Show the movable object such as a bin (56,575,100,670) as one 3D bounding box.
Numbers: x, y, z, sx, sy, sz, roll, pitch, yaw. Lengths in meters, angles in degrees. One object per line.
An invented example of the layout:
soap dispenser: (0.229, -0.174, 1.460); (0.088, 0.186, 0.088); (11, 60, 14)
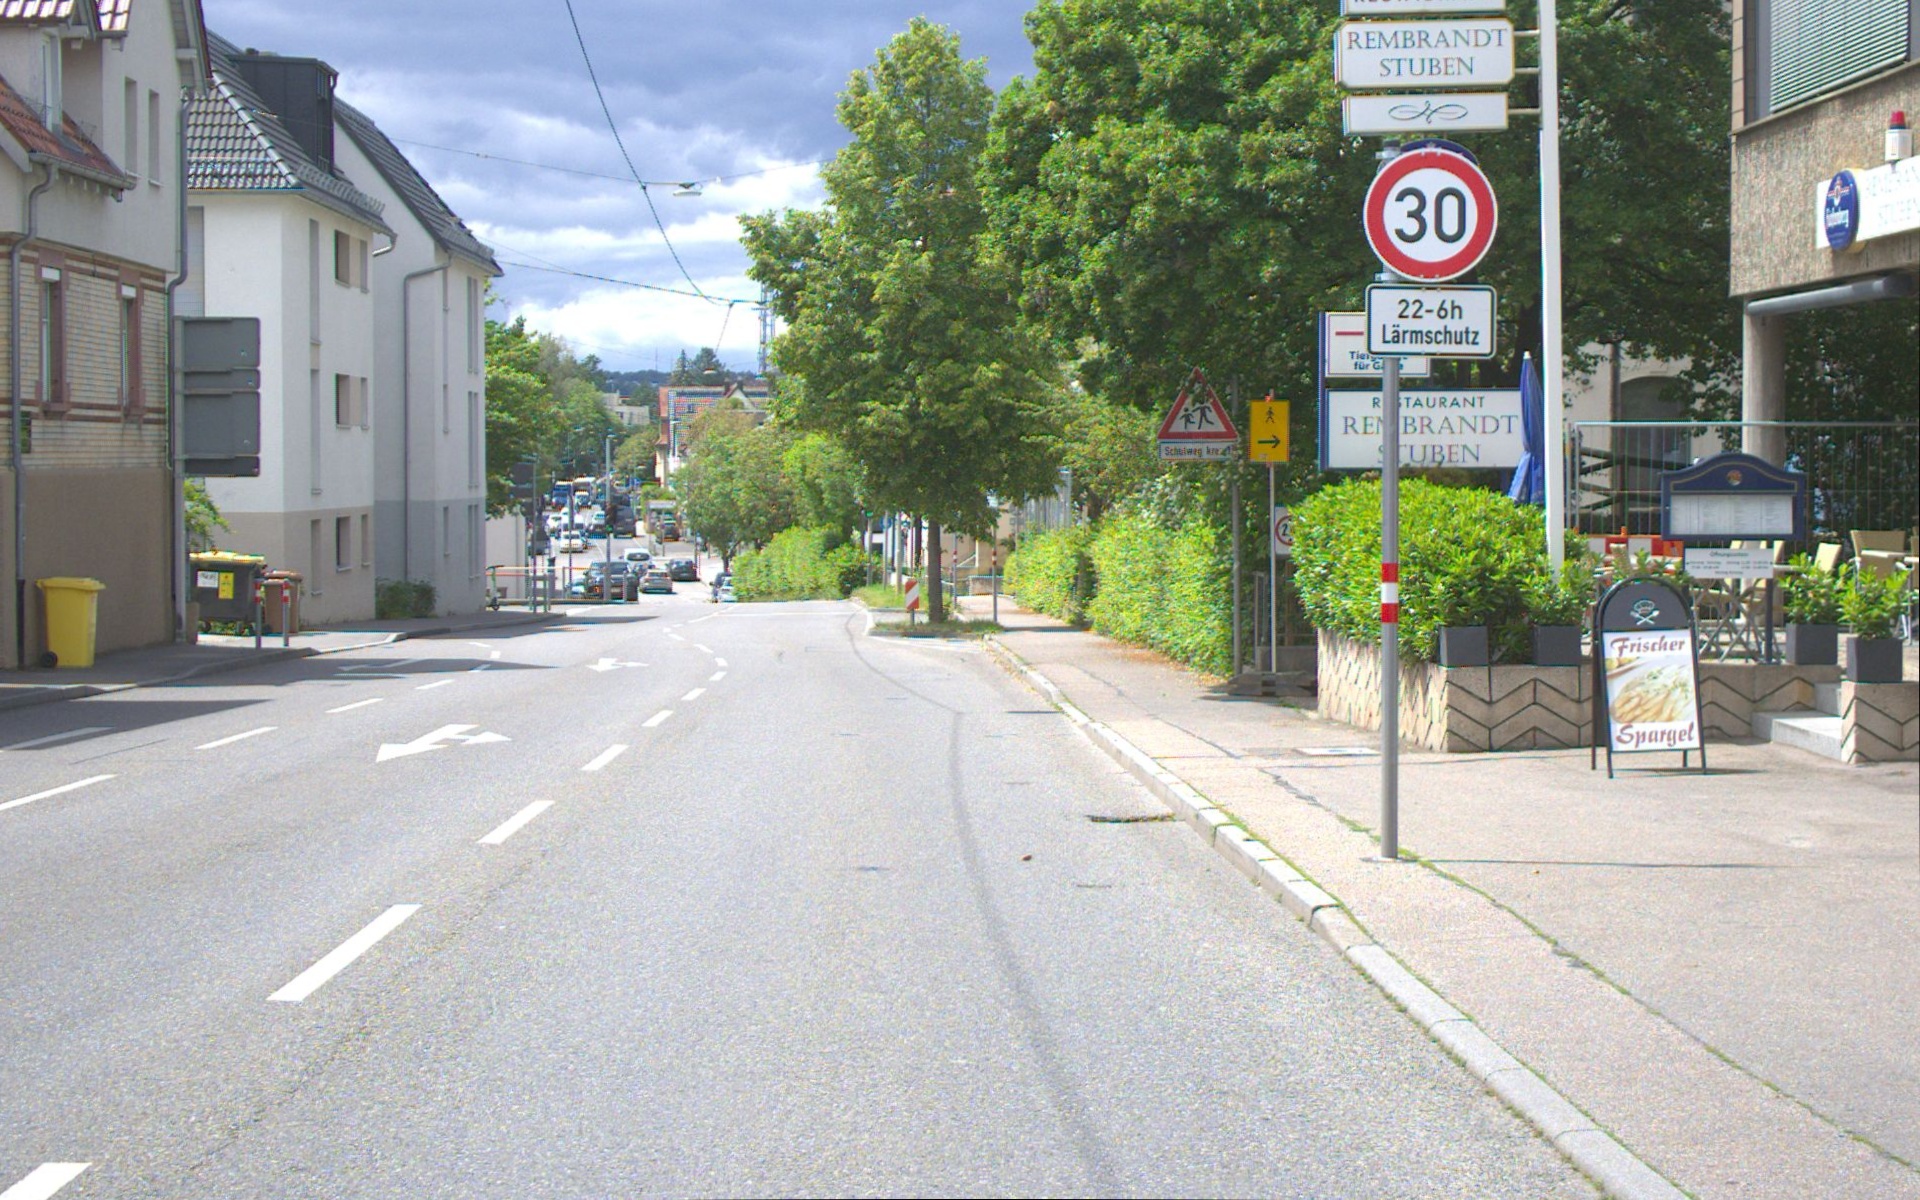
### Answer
movable object such as a bin: (-10.538, 0.269, 41.074); (0.431, 1.124, 0.299); (-1, 1, -3)

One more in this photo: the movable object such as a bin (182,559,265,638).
movable object such as a bin: (-12.213, -0.032, 57.045); (1.281, 1.305, 0.816); (0, 1, -7)

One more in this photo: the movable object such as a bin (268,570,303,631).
movable object such as a bin: (-11.540, 0.003, 58.843); (0.531, 1.026, 0.455); (0, 1, -3)

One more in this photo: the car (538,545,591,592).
car: (-17.149, -1.374, 148.847); (1.993, 2.007, 4.001); (0, 1, -11)

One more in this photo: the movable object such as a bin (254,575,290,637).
movable object such as a bin: (-11.636, 0.098, 58.167); (0.531, 1.026, 0.455); (0, 1, -3)

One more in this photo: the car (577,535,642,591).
car: (-12.641, -1.337, 123.674); (1.993, 2.007, 4.001); (0, 1, -11)

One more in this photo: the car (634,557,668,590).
car: (-18.967, -1.626, 210.834); (1.993, 2.007, 4.001); (-1, 0, -6)

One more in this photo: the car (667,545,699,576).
car: (-18.205, -2.582, 226.142); (1.993, 2.007, 4.001); (-1, 0, -6)
